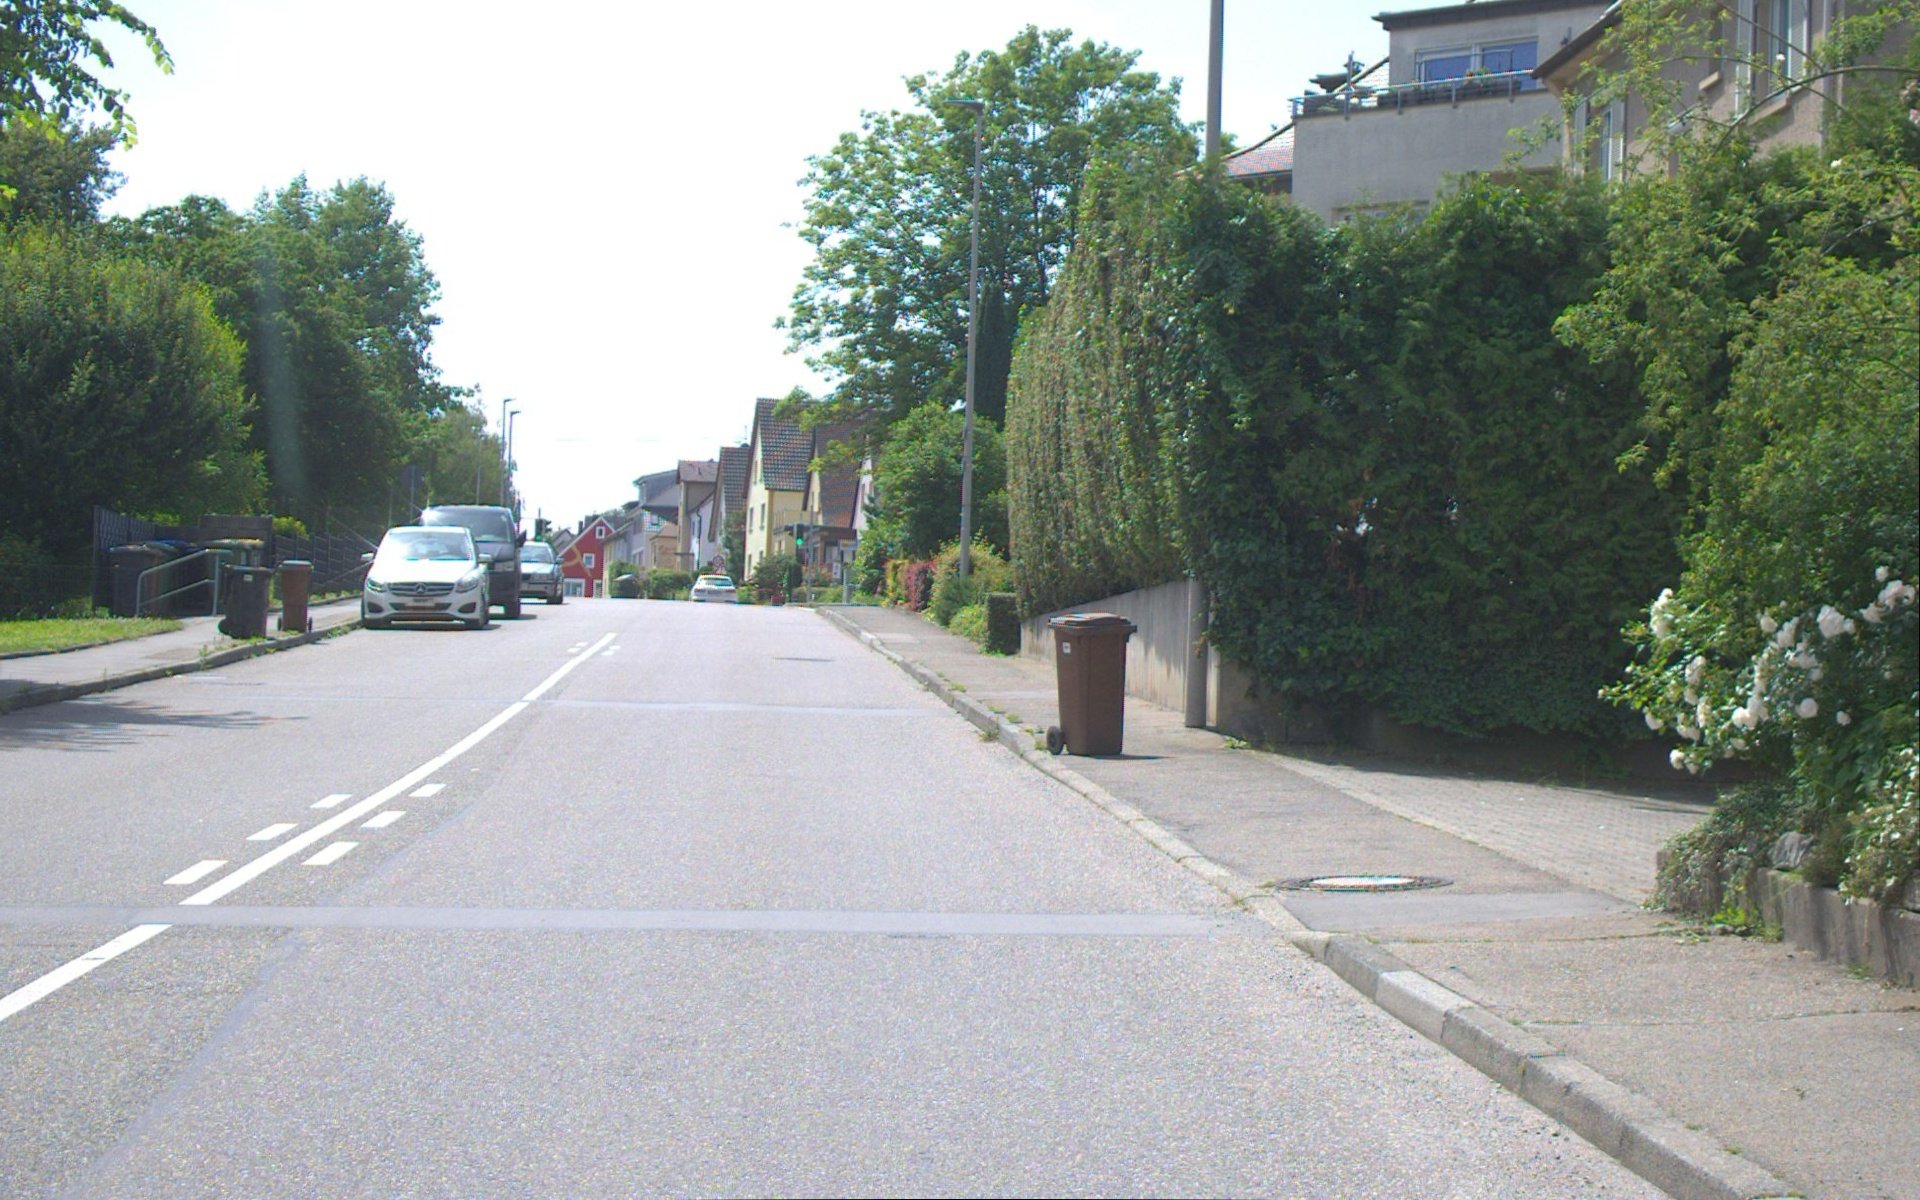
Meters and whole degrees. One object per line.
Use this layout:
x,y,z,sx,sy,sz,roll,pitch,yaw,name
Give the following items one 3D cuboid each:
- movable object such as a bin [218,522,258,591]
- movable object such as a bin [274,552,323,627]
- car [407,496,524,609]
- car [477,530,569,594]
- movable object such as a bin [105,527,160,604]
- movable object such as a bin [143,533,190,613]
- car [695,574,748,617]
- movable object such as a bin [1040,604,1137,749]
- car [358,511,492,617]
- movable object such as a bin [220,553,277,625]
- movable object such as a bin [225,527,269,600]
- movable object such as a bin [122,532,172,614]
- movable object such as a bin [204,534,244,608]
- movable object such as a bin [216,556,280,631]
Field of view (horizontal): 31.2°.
-10.899,-0.657,51.881,0.456,1.040,0.560,0,0,3,movable object such as a bin
-8.810,-0.147,45.808,0.506,0.985,0.563,1,1,3,movable object such as a bin
-8.726,-0.858,60.926,1.896,1.913,4.871,0,1,-6,car
-9.874,-0.852,77.906,1.780,1.389,4.410,1,0,-4,car
-11.967,-0.500,49.708,0.603,1.092,0.650,1,1,3,movable object such as a bin
-11.854,-0.402,51.392,0.476,1.174,0.840,1,1,1,movable object such as a bin
-9.287,-0.186,133.702,1.993,1.598,4.001,0,1,-5,car
0.892,0.528,24.021,0.588,0.974,0.786,-1,1,-4,movable object such as a bin
-8.284,-0.590,53.528,1.810,1.544,4.244,2,1,-6,car
-9.156,-0.142,44.280,0.563,0.914,0.642,1,1,3,movable object such as a bin
-10.904,-0.560,52.578,0.497,1.101,0.710,0,0,3,movable object such as a bin
-11.963,-0.400,50.580,0.547,1.174,0.674,1,1,1,movable object such as a bin
-10.955,-0.432,51.189,0.516,1.100,0.529,1,1,-5,movable object such as a bin
-8.926,-0.086,43.119,0.619,0.914,0.686,1,1,3,movable object such as a bin
